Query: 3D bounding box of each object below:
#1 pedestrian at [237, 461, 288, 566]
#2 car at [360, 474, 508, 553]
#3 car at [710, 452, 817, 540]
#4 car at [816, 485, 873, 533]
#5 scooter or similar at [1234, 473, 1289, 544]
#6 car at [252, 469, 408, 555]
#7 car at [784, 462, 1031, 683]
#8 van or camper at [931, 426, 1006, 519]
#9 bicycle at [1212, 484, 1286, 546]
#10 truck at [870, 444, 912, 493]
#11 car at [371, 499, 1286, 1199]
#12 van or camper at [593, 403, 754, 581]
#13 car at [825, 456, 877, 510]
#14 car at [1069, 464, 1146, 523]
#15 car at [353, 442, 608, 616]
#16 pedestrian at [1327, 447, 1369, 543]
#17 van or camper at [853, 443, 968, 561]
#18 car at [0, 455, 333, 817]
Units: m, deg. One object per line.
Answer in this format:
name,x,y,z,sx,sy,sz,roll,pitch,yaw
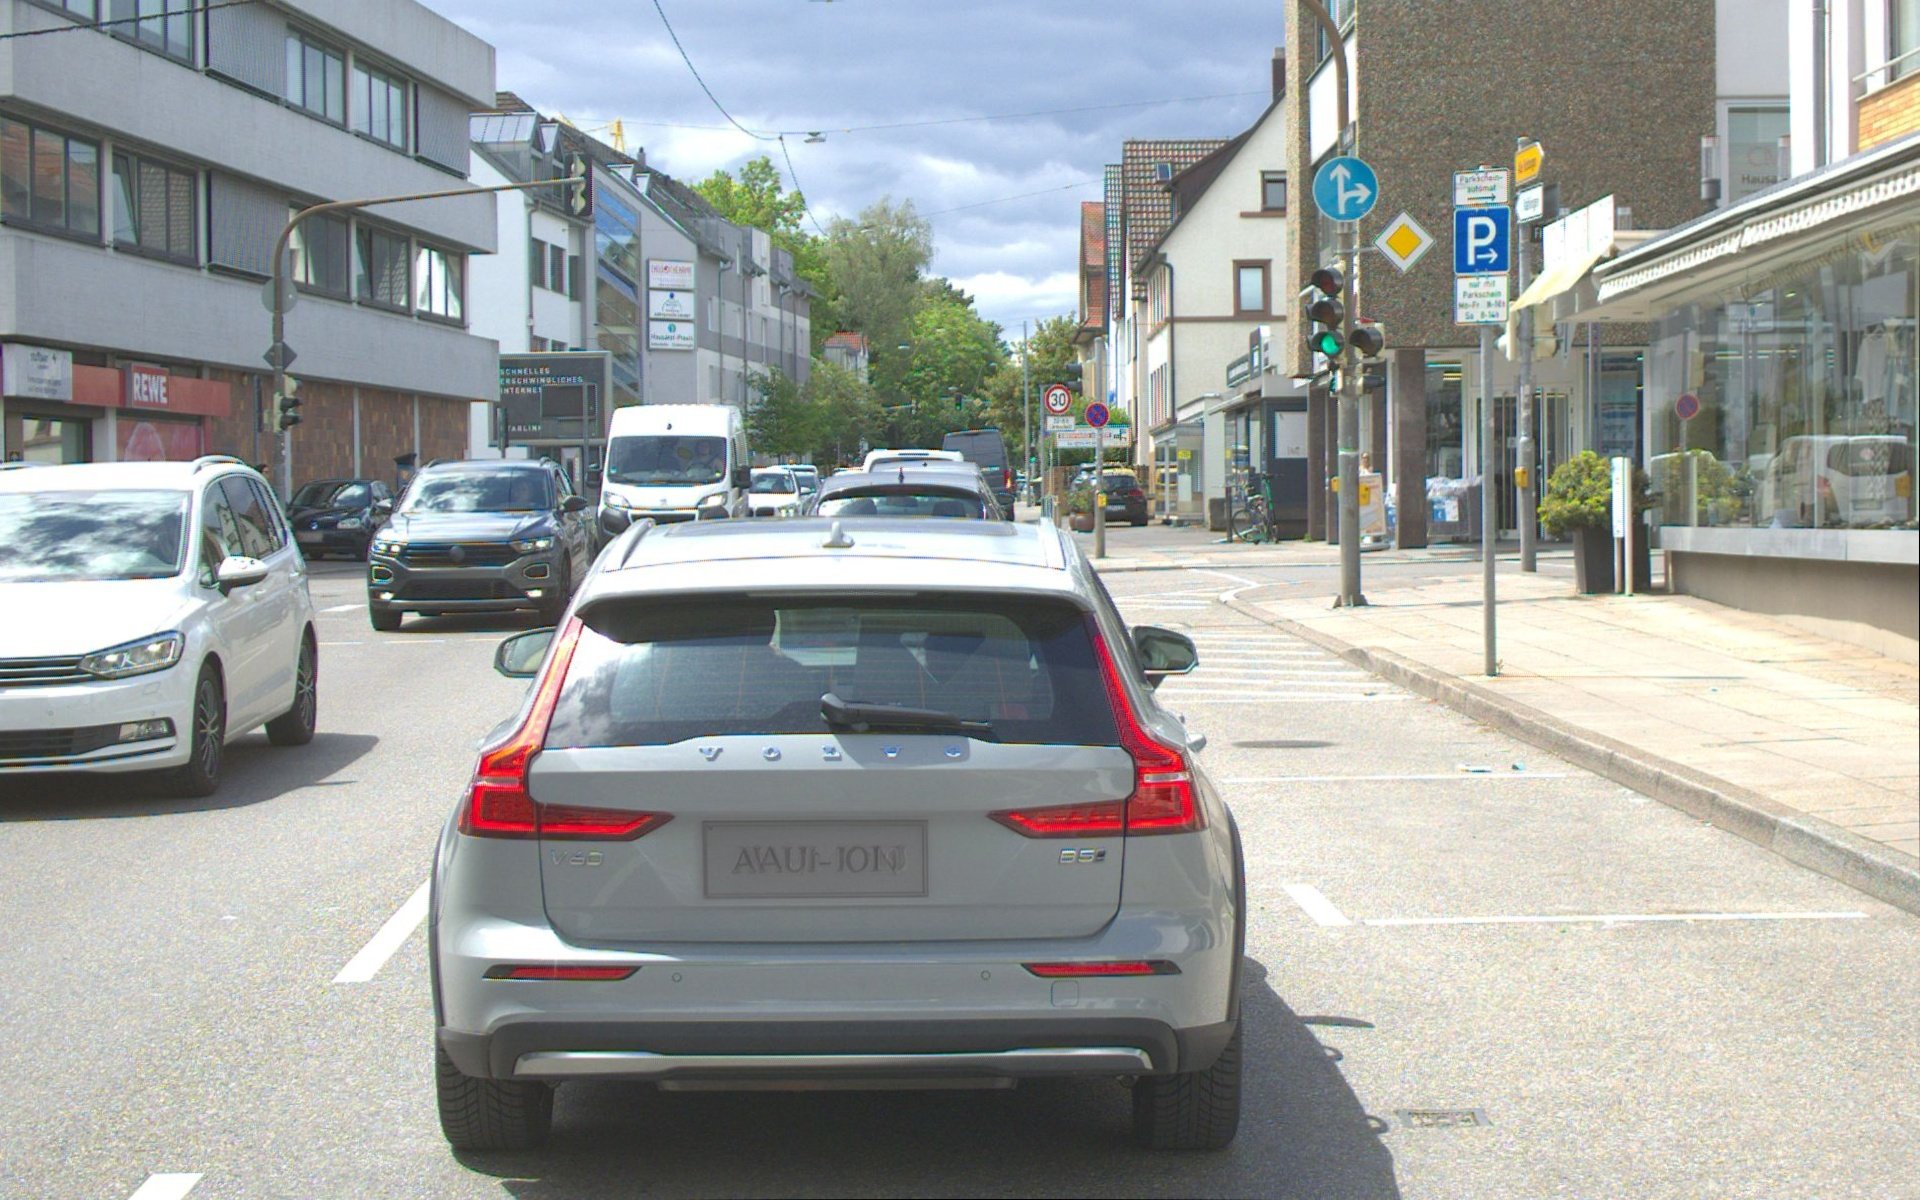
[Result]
pedestrian,-11.048,-1.372,54.493,0.619,1.635,0.660,-1,2,1
car,-10.240,-1.716,67.253,1.904,1.438,4.443,1,2,4
car,-3.897,-2.105,68.807,1.780,1.634,4.221,-2,2,1
car,-3.823,-3.038,113.925,1.668,1.548,4.215,0,2,1
scooter or similar,5.476,-1.653,62.492,0.340,1.249,1.246,-4,2,-26
car,-11.208,-1.584,61.446,1.785,1.459,4.086,1,2,4
car,-0.365,-0.232,24.841,1.650,1.477,3.608,0,2,0
van or camper,0.286,-3.789,102.241,2.123,2.677,4.781,-1,2,1
bicycle,5.507,-1.632,65.668,0.554,1.140,2.301,-2,2,-18
truck,-4.157,-8.006,209.152,2.276,2.876,7.080,-1,2,1
car,-0.281,0.519,8.940,1.836,1.481,4.001,0,3,-1
van or camper,-4.338,-1.714,52.858,2.148,2.547,5.439,-1,3,-2
car,-3.997,-4.293,126.535,1.838,1.910,4.156,0,2,0
car,3.862,-2.788,90.618,1.710,1.459,4.000,0,1,-2
car,-4.448,-0.667,32.414,1.791,1.506,3.845,-1,1,1
pedestrian,6.044,-1.637,53.554,0.504,1.454,0.500,-3,1,14
van or camper,-0.808,-1.585,56.848,1.819,1.828,4.000,0,0,0
car,-4.518,0.095,17.766,1.775,1.607,4.120,-2,3,0
